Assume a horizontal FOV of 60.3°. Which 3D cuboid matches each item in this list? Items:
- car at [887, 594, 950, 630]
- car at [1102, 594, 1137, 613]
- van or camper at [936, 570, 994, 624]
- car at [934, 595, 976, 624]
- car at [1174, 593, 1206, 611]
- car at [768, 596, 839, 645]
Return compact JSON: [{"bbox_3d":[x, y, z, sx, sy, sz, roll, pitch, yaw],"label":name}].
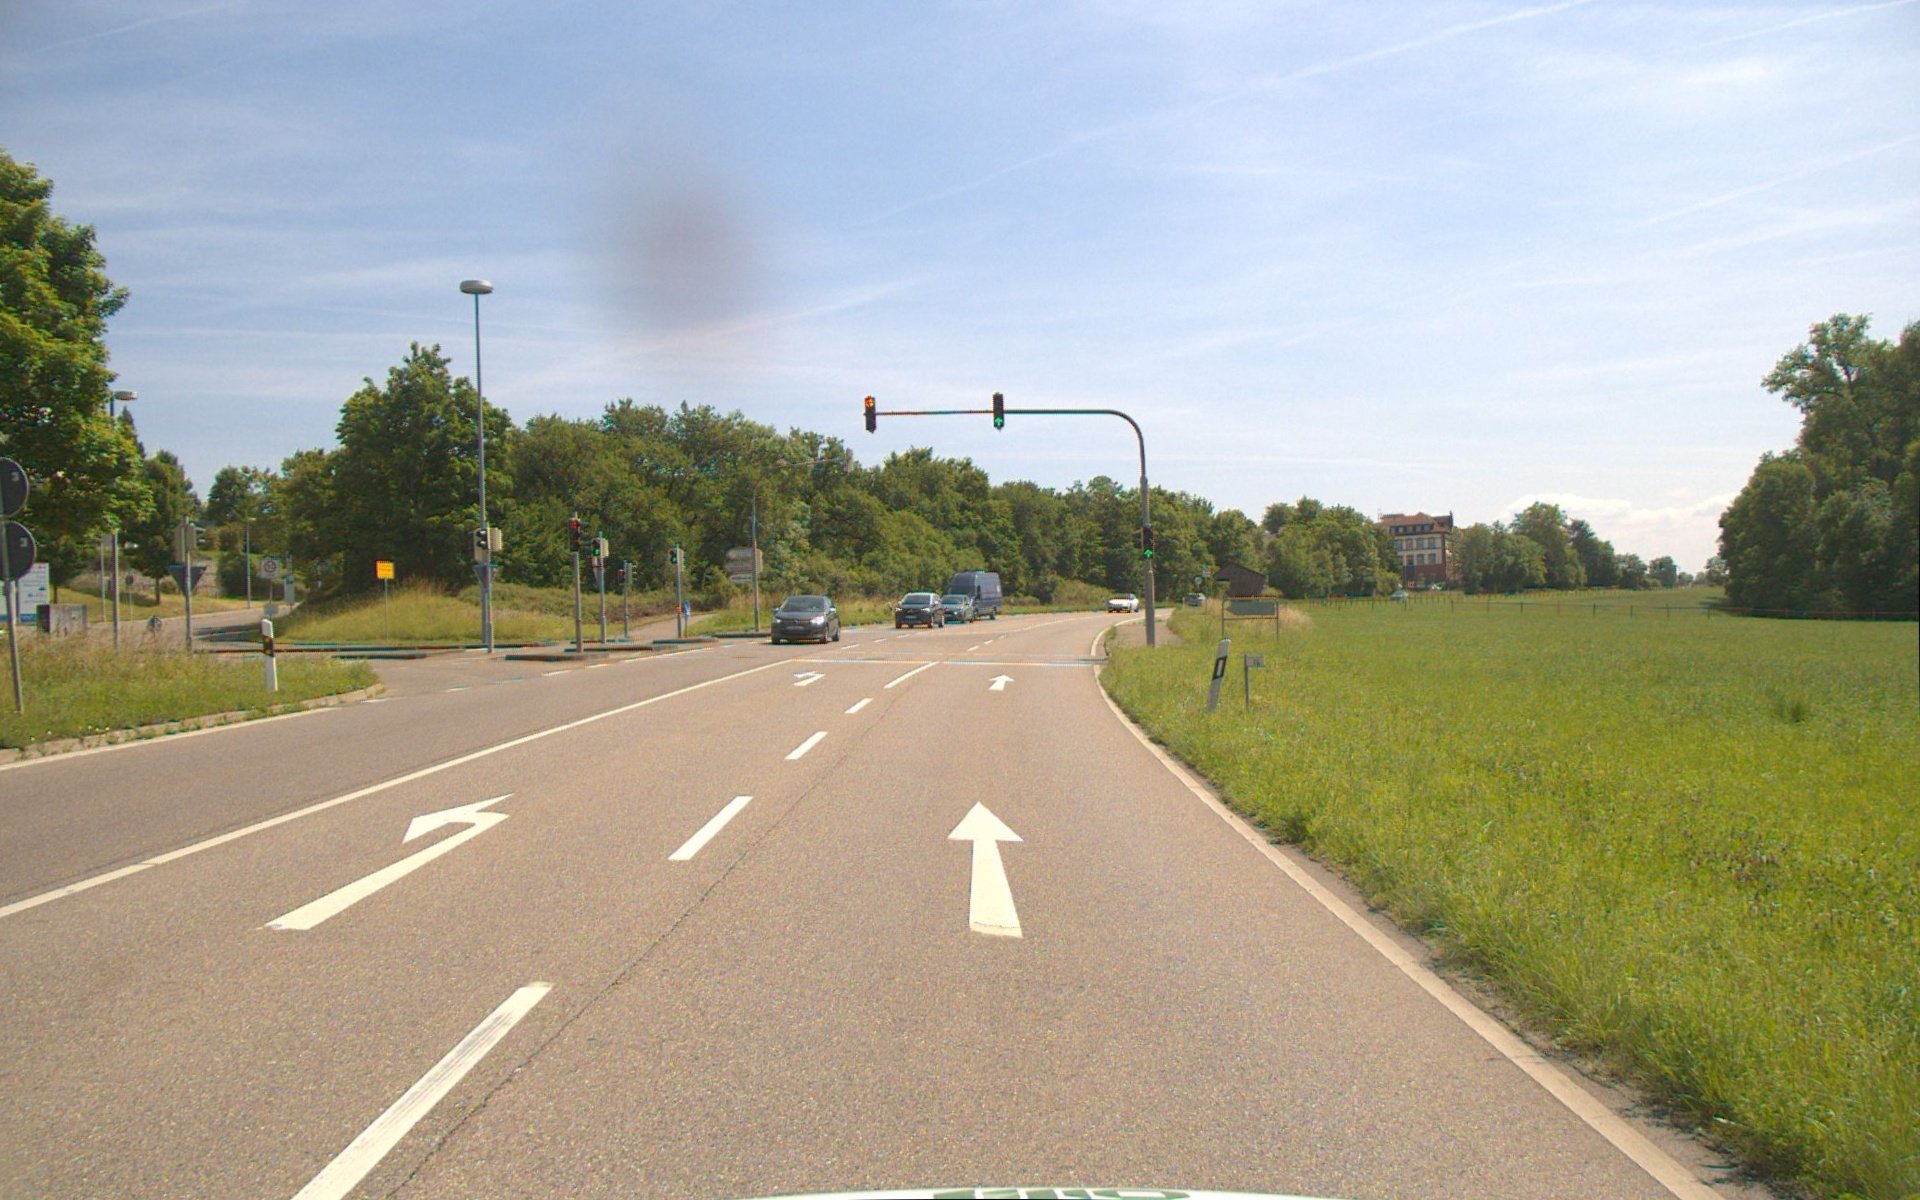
[{"bbox_3d":[-1.871,0.518,75.421,1.932,1.589,4.192,0,0,12],"label":"car"},{"bbox_3d":[13.357,0.305,138.614,1.897,1.575,4.629,0,0,19],"label":"car"},{"bbox_3d":[0.353,-0.230,97.450,2.192,2.964,7.254,-1,1,10],"label":"van or camper"},{"bbox_3d":[-0.260,0.494,87.888,1.670,1.509,3.835,0,0,8],"label":"car"},{"bbox_3d":[20.633,0.189,148.024,1.953,1.601,4.000,0,0,21],"label":"car"},{"bbox_3d":[-4.942,0.621,52.725,1.754,1.500,4.311,0,0,1],"label":"car"}]
